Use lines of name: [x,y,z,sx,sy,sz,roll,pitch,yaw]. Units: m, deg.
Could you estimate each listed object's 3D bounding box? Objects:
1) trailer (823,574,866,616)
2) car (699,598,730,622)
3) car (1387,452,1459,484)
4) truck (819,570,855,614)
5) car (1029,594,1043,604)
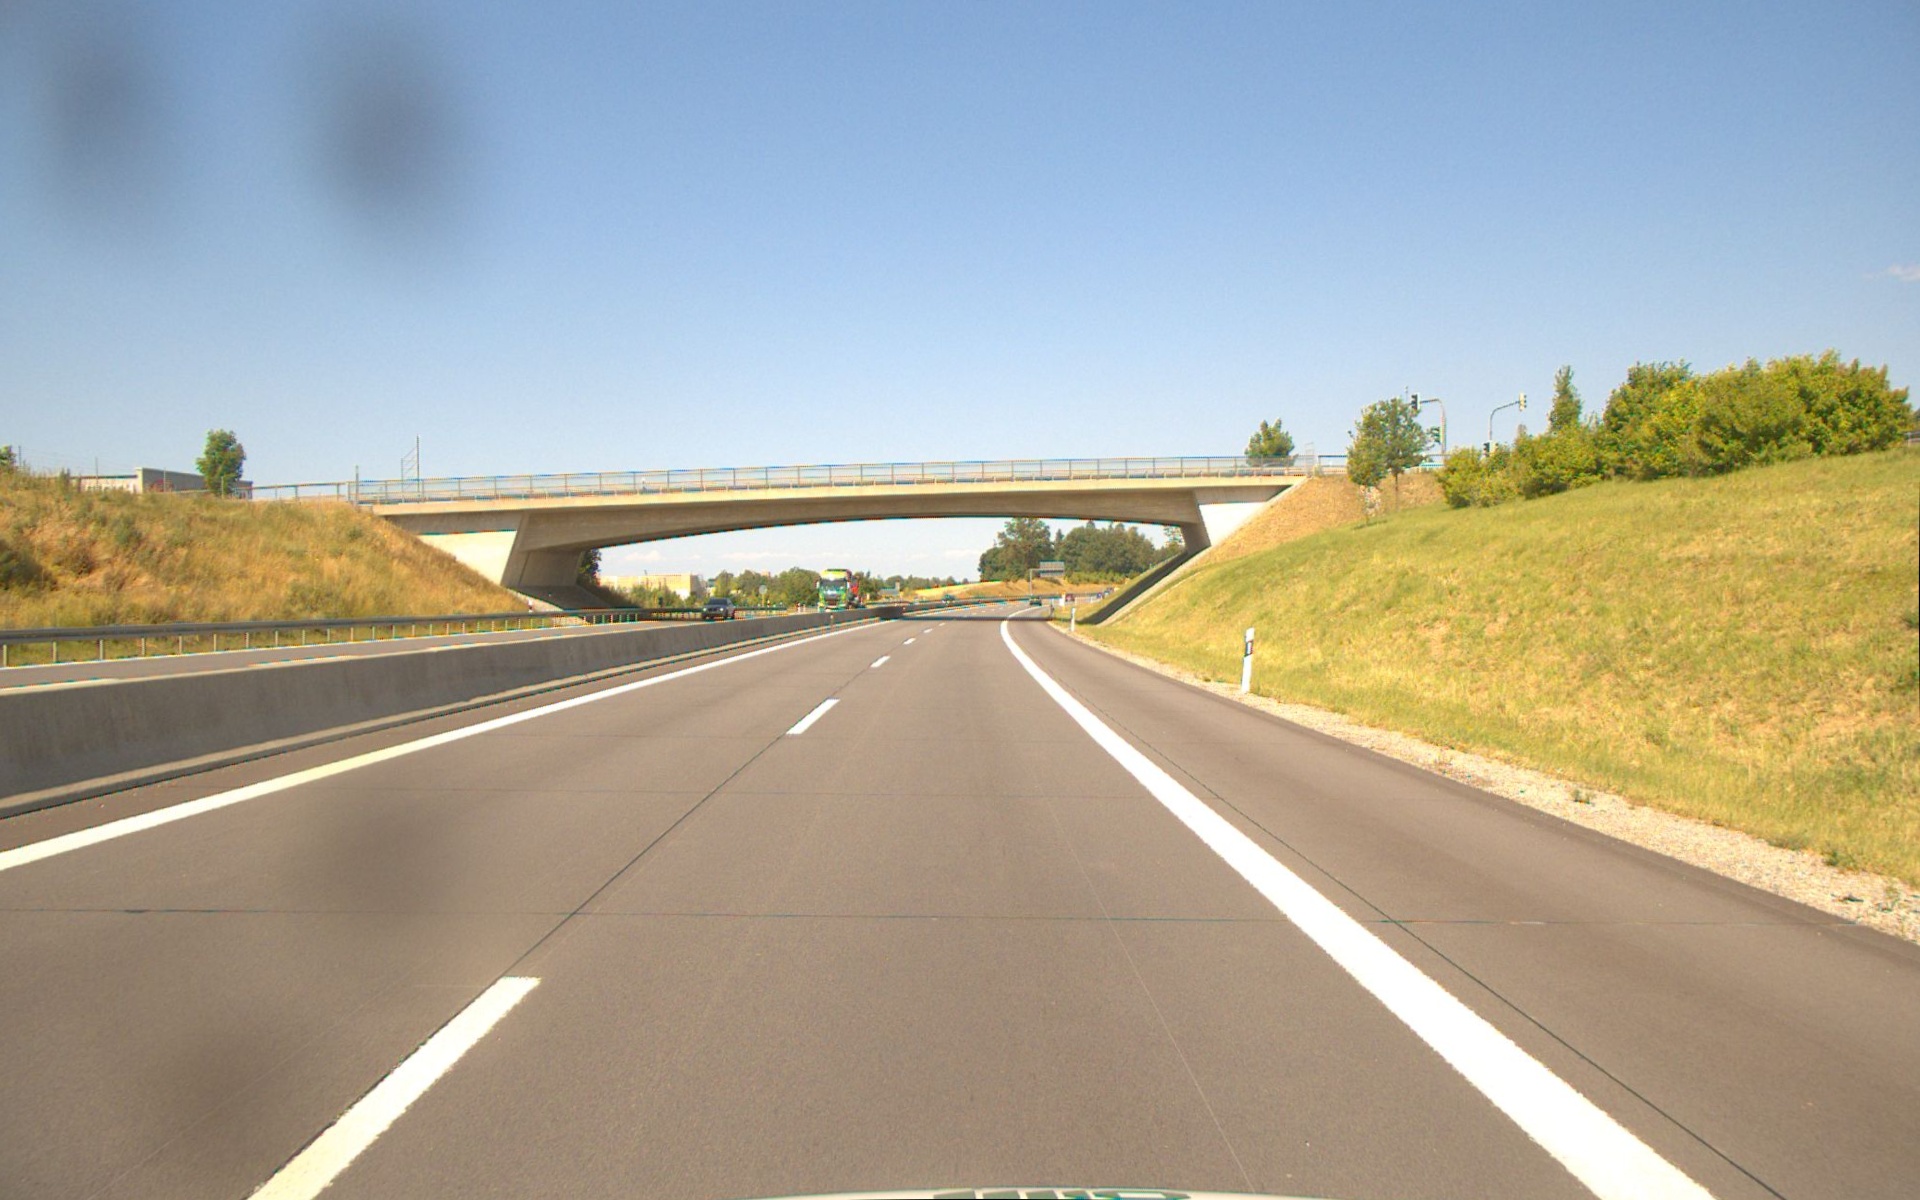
trailer: [-10.766,-0.484,155.418,2.609,3.721,13.240,0,0,2]
car: [-16.865,0.679,113.732,1.825,1.557,4.563,0,0,-5]
car: [30.454,-8.680,108.864,4.049,1.914,1.995,-2,1,-11]
truck: [-11.015,-0.699,148.749,2.678,3.899,5.832,0,0,2]
car: [11.337,-0.206,246.797,1.952,1.445,4.001,-2,0,2]
